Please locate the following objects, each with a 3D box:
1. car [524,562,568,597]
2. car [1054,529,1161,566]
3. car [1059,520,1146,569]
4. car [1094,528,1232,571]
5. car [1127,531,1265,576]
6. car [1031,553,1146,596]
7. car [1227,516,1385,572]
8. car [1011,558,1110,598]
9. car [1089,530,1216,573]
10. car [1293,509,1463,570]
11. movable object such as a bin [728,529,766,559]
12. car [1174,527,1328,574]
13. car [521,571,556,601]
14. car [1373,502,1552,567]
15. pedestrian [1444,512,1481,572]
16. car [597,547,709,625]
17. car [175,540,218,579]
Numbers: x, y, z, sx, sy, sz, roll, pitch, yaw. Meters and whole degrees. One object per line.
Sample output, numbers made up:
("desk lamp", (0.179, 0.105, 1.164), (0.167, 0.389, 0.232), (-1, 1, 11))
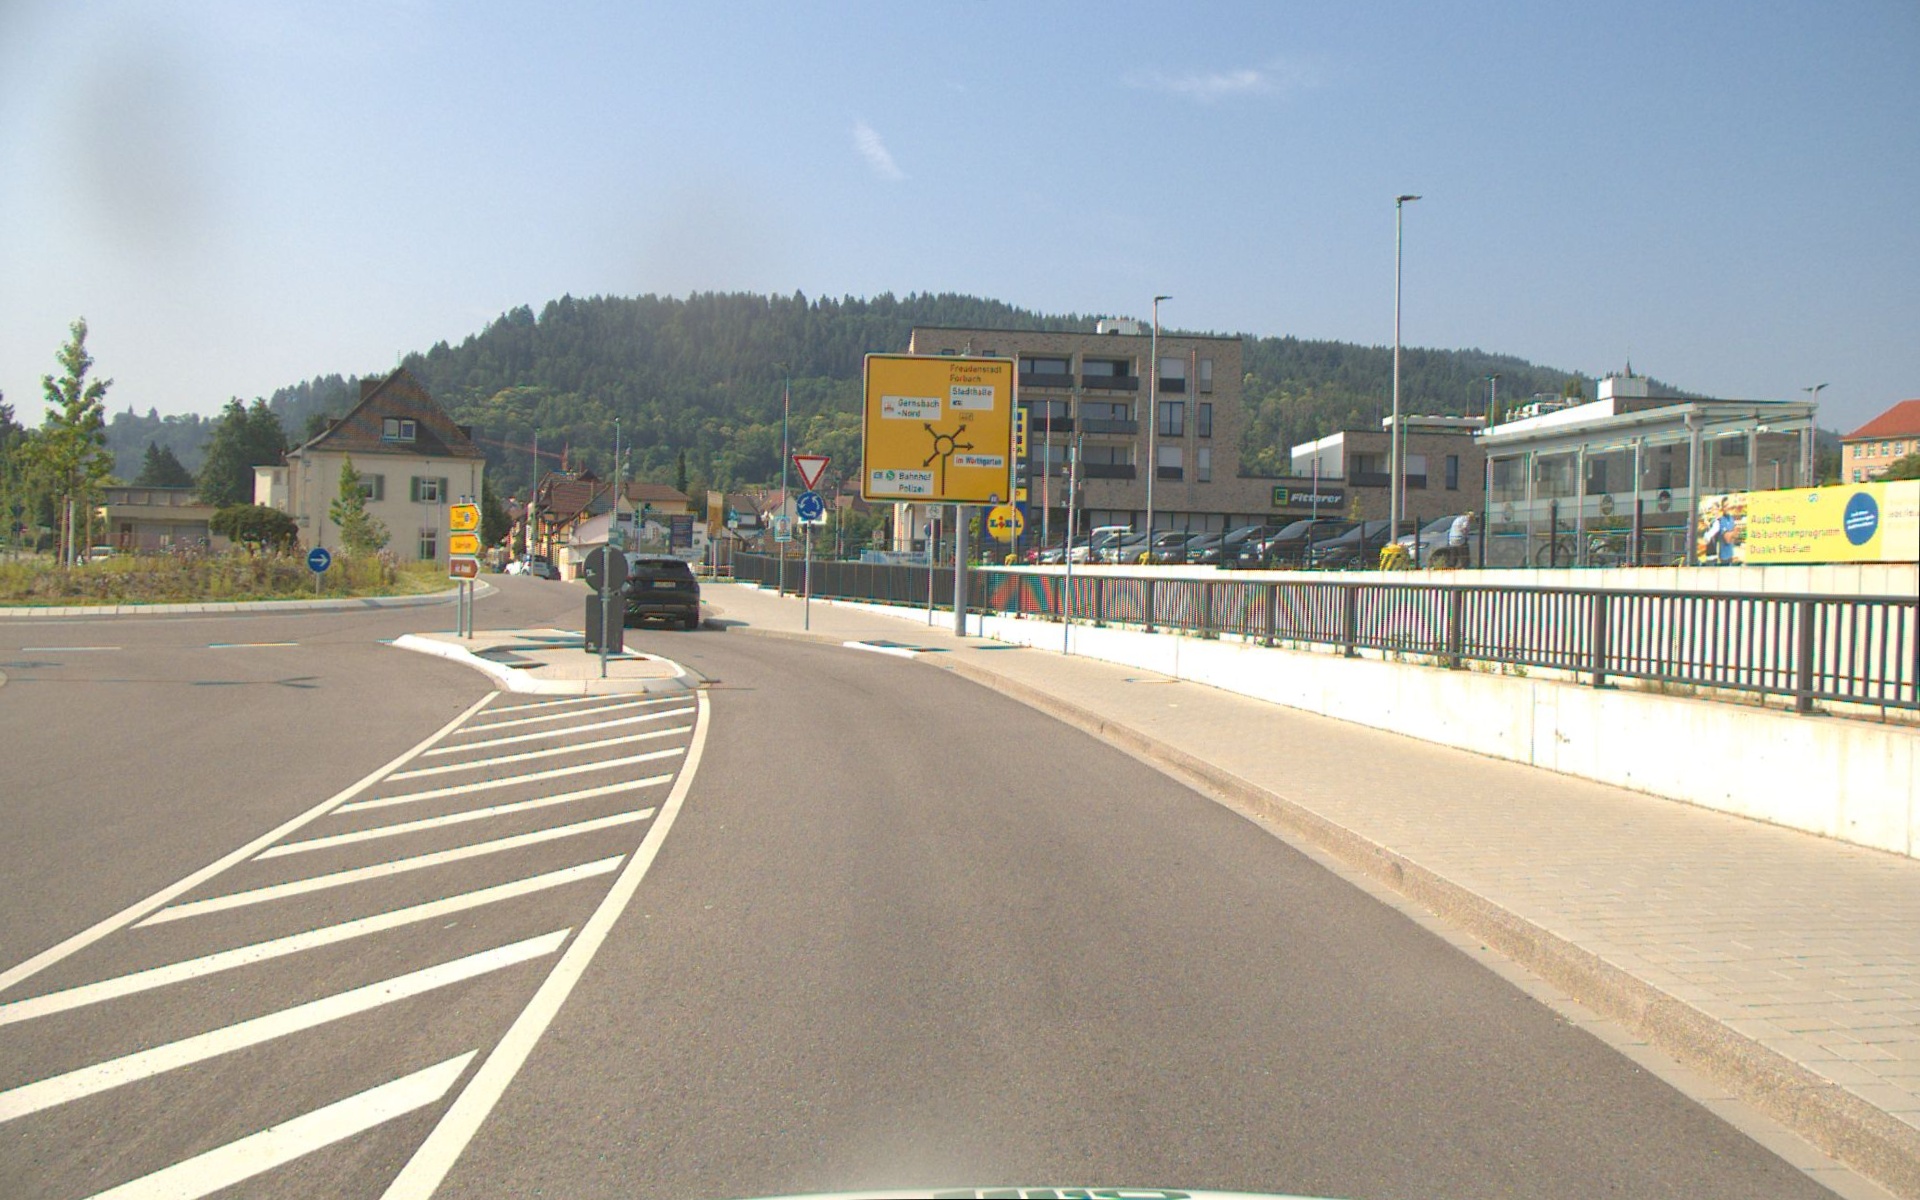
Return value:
("car", (-24.898, -1.204, 99.589), (1.955, 2.049, 3.996), (0, 0, -5))
("car", (5.335, -1.879, 59.909), (3.499, 1.220, 1.706), (1, 1, -18))
("car", (6.477, -2.521, 75.643), (3.903, 2.173, 2.001), (0, 0, 4))
("car", (6.658, -1.648, 54.368), (4.212, 1.267, 1.656), (1, 1, -18))
("car", (7.366, -1.449, 51.731), (3.905, 1.267, 1.721), (1, 1, -18))
("car", (4.848, -0.965, 62.676), (3.989, 1.513, 1.710), (1, 1, -15))
("car", (9.566, -1.534, 45.732), (3.943, 1.428, 1.716), (1, 1, -18))
("car", (3.945, -0.871, 65.224), (3.499, 1.455, 1.703), (1, 1, -18))
("car", (6.559, -1.647, 56.468), (3.973, 1.366, 1.652), (1, 1, -18))
("car", (10.623, -1.518, 42.055), (3.998, 1.428, 1.478), (1, 1, -18))
("movable object such as a bin", (-13.824, -3.620, 107.203), (2.398, 1.876, 1.426), (0, 0, -9))
("car", (8.596, -1.457, 48.913), (4.148, 1.267, 1.735), (1, 1, -18))
("car", (-29.421, -0.969, 115.475), (1.965, 2.049, 3.976), (0, 0, -21))
("car", (11.822, -1.523, 38.957), (3.746, 1.388, 1.672), (1, 1, -18))
("pedestrian", (11.411, -1.305, 37.551), (0.538, 1.335, 0.654), (1, 0, -15))
("car", (-7.135, -0.316, 38.150), (1.854, 1.713, 3.975), (0, 0, -21))
("car", (-41.769, -2.244, 90.519), (1.783, 2.048, 3.978), (0, 2, -20))
